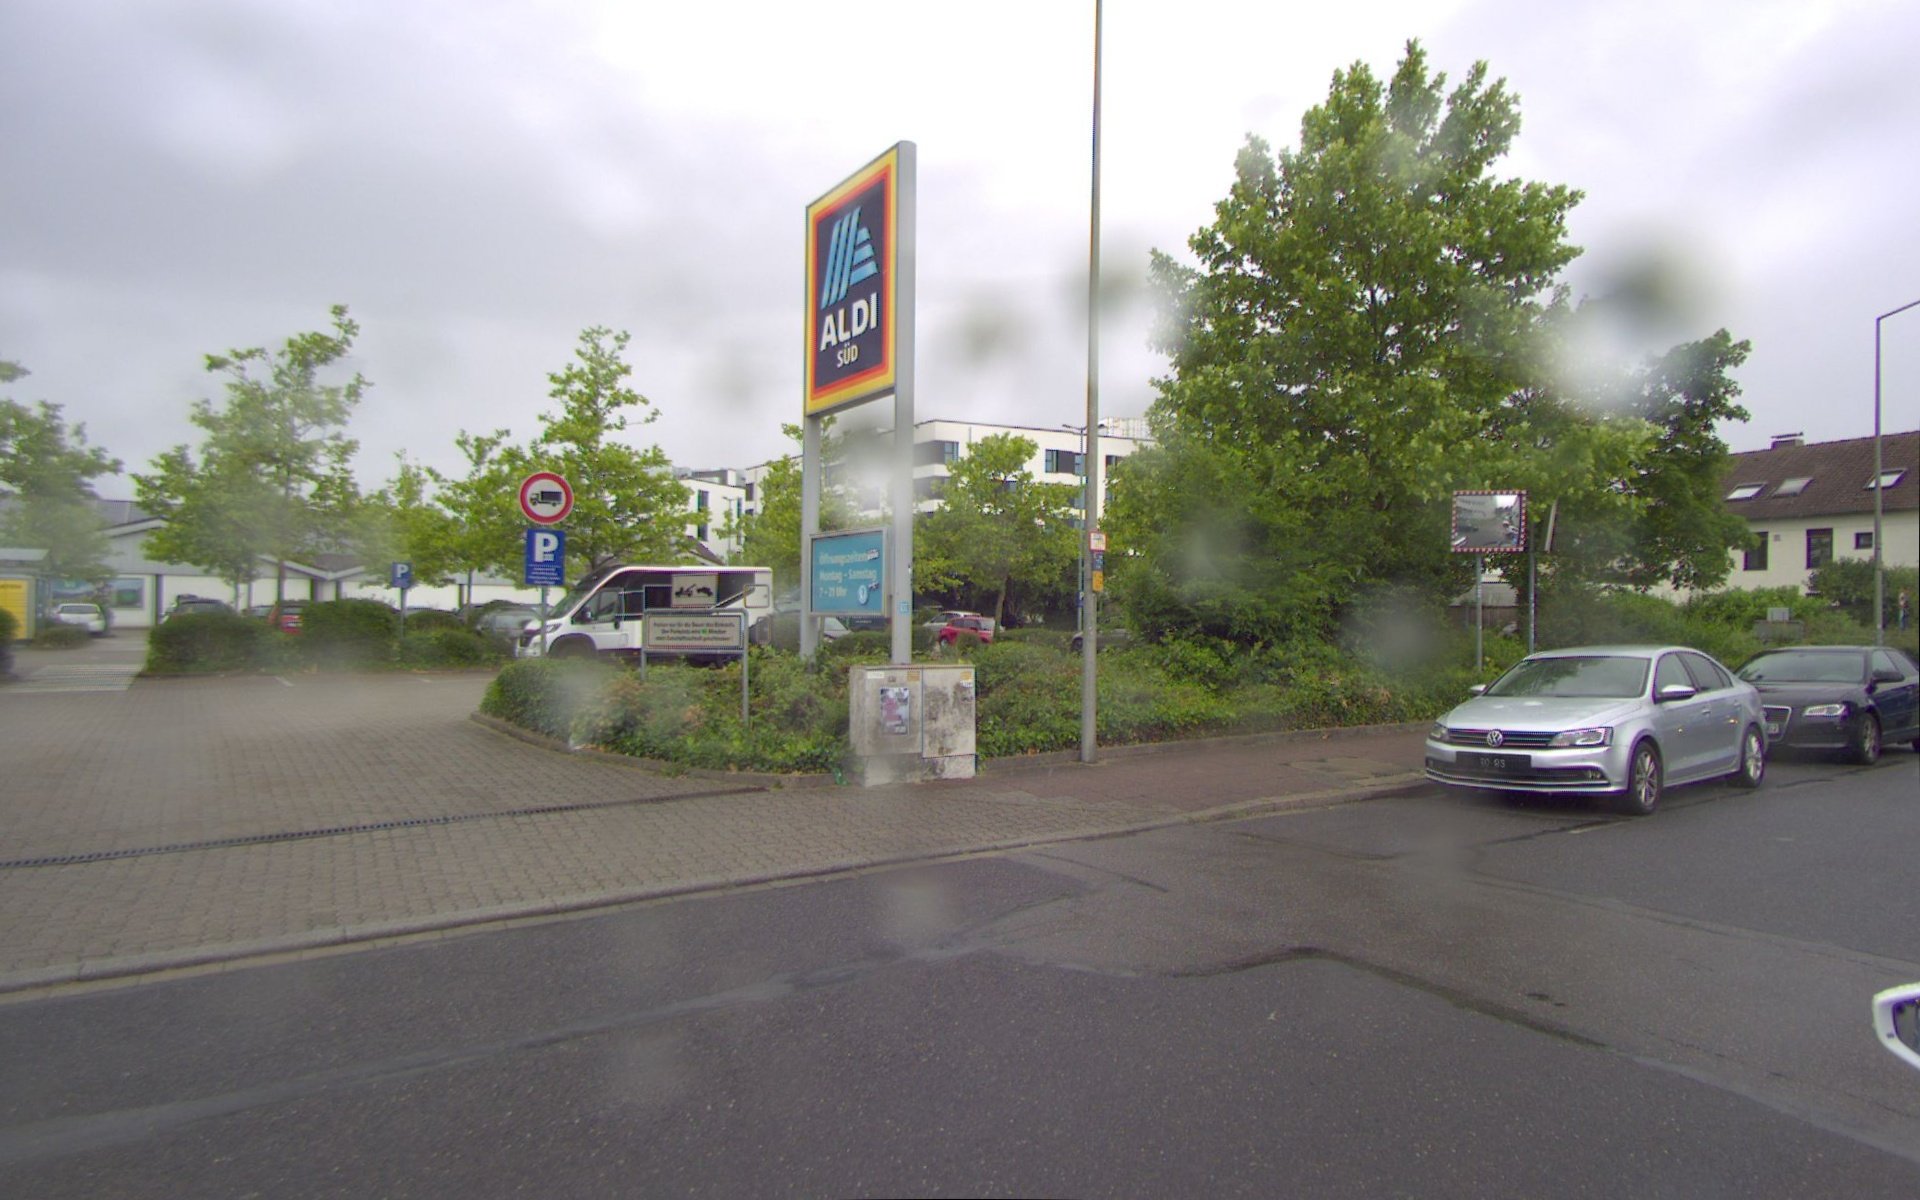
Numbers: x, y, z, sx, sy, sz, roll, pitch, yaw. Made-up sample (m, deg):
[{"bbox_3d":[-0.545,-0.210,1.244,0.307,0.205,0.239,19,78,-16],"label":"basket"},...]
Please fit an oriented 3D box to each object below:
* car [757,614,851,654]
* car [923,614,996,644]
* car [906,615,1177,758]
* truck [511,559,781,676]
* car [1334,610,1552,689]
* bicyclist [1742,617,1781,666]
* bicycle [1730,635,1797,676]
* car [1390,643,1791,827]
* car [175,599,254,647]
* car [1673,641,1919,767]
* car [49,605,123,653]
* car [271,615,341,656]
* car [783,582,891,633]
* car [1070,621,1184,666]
[{"bbox_3d":[-5.564,1.165,35.449,1.740,1.320,3.961,1,-1,-34],"label":"car"},{"bbox_3d":[-0.054,1.507,53.050,1.980,1.549,3.961,1,-1,-35],"label":"car"},{"bbox_3d":[0.943,1.017,13.300,1.695,1.479,3.546,1,1,-35],"label":"car"},{"bbox_3d":[-7.920,0.465,25.813,6.340,2.692,1.978,1,-1,-38],"label":"truck"},{"bbox_3d":[10.613,1.035,22.314,1.892,1.561,3.960,1,-1,-36],"label":"car"},{"bbox_3d":[25.831,1.326,32.392,0.926,1.537,0.613,0,-1,33],"label":"bicyclist"},{"bbox_3d":[25.860,1.776,32.364,1.632,1.229,0.495,0,-1,33],"label":"bicycle"},{"bbox_3d":[6.277,1.144,9.810,4.556,1.385,1.695,1,-3,-36],"label":"car"},{"bbox_3d":[-25.389,0.766,34.333,1.980,1.542,3.961,1,-1,-35],"label":"car"},{"bbox_3d":[11.038,1.246,13.010,3.798,1.385,1.695,1,-3,-34],"label":"car"},{"bbox_3d":[-38.817,1.253,44.711,1.979,2.040,3.962,1,-1,-34],"label":"car"},{"bbox_3d":[-23.233,1.218,35.622,1.980,1.363,3.961,1,-1,-35],"label":"car"},{"bbox_3d":[-5.810,0.400,47.908,4.768,2.327,1.979,1,-1,-37],"label":"car"},{"bbox_3d":[6.117,1.560,37.163,1.980,1.519,3.961,1,-1,-35],"label":"car"}]
